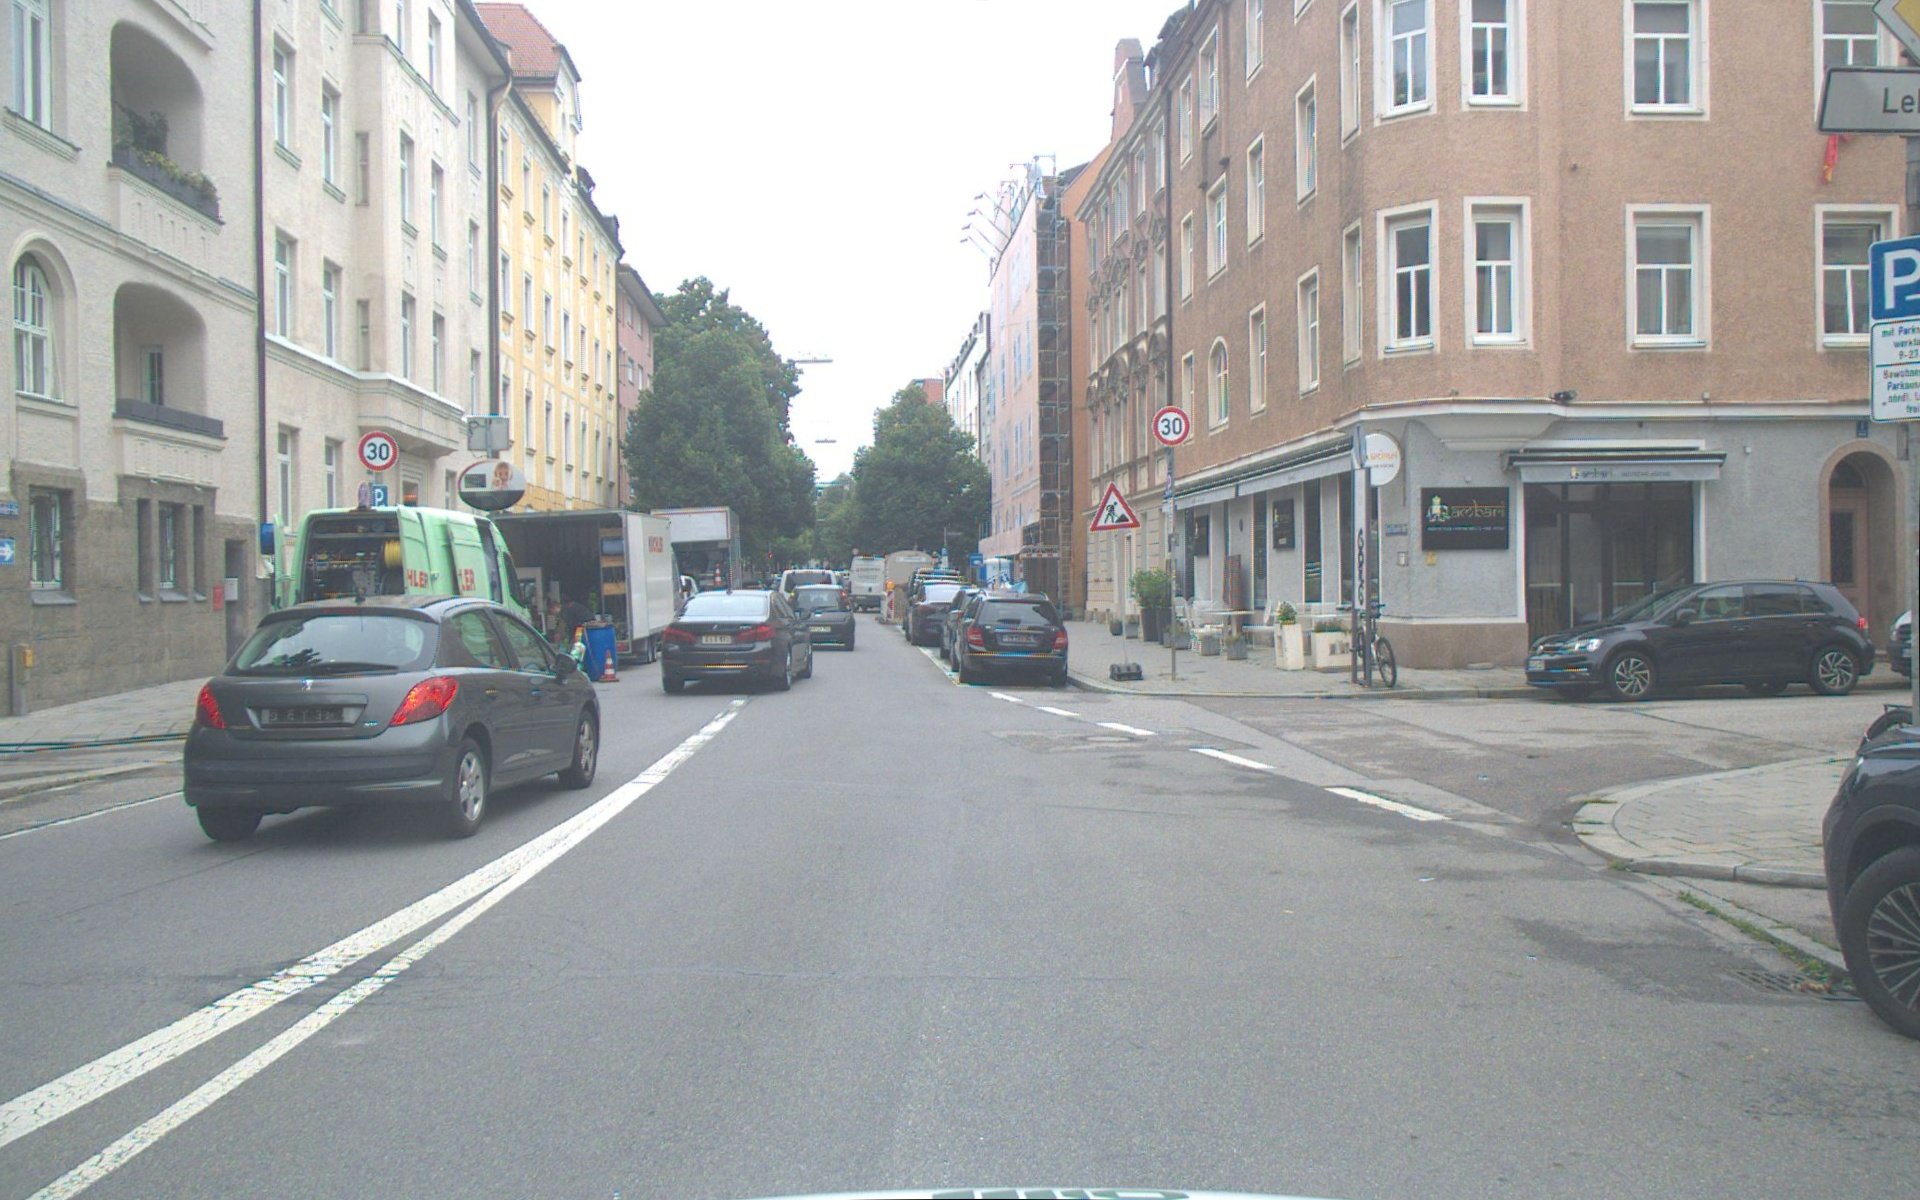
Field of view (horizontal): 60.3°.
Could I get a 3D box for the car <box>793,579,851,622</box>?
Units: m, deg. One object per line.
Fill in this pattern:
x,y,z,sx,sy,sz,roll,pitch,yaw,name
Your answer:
-5.077,0.003,61.316,1.950,1.454,4.138,-1,1,-3,car

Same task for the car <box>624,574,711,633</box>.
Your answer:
-8.418,0.074,47.926,1.950,1.638,4.138,0,1,-3,car

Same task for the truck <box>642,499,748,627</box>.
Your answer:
-8.776,-1.204,55.501,2.953,4.020,6.988,0,0,-5,truck

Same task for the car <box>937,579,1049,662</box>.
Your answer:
0.597,0.357,33.214,1.808,1.454,4.137,2,1,-5,car

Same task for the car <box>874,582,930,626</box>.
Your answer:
-2.120,0.106,59.561,1.950,1.454,4.138,-1,1,-3,car

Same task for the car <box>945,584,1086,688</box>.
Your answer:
0.831,0.536,27.293,1.808,1.454,4.180,2,1,-5,car

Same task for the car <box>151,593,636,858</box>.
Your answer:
-3.666,0.717,11.547,1.722,1.486,4.076,-1,0,4,car

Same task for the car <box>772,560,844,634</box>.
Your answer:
-4.496,-0.141,49.509,1.950,2.111,4.138,-1,1,-3,car

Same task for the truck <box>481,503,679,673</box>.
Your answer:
-7.212,-0.303,32.385,2.719,2.923,7.195,-1,1,-5,truck

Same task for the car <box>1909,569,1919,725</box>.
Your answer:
11.080,0.449,15.009,3.955,1.482,1.746,-1,2,-1,car

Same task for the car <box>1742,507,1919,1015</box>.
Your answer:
4.132,0.520,4.433,1.782,1.708,4.509,-2,0,-2,car

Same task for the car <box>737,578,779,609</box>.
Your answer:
-10.047,-0.342,82.545,1.901,1.473,3.863,0,1,-4,car

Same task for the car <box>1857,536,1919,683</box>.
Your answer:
14.809,0.096,21.656,5.025,1.886,2.098,-1,-1,-3,car

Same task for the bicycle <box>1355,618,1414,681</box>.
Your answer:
5.880,0.678,22.959,0.447,0.819,1.326,0,0,-1,bicycle

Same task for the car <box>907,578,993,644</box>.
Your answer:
-0.311,0.238,41.870,1.808,1.454,4.303,2,1,-5,car

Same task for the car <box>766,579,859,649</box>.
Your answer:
-3.360,0.279,38.317,1.950,1.454,4.138,-1,1,-3,car

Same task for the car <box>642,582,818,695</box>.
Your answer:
-3.353,0.503,25.091,1.949,1.454,4.906,-1,1,0,car

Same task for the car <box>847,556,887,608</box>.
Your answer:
-4.616,-0.892,82.594,1.900,2.523,4.781,0,0,-2,car

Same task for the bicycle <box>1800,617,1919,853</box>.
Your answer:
5.339,0.727,8.988,0.503,1.229,1.995,0,0,-1,bicycle

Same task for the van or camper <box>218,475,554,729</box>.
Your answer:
-7.361,-0.062,22.130,2.548,2.889,6.183,-1,1,-3,van or camper

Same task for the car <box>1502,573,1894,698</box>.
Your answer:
9.244,0.446,20.944,4.086,1.454,1.924,-1,-1,-3,car

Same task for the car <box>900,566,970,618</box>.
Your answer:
-0.794,-0.280,49.860,1.950,1.454,4.138,-1,1,-3,car

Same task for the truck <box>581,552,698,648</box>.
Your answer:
-7.779,-0.031,40.596,2.241,2.209,4.803,0,0,-4,truck

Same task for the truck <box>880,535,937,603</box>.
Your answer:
-2.400,-1.396,75.729,2.442,3.025,5.323,0,0,-4,truck
